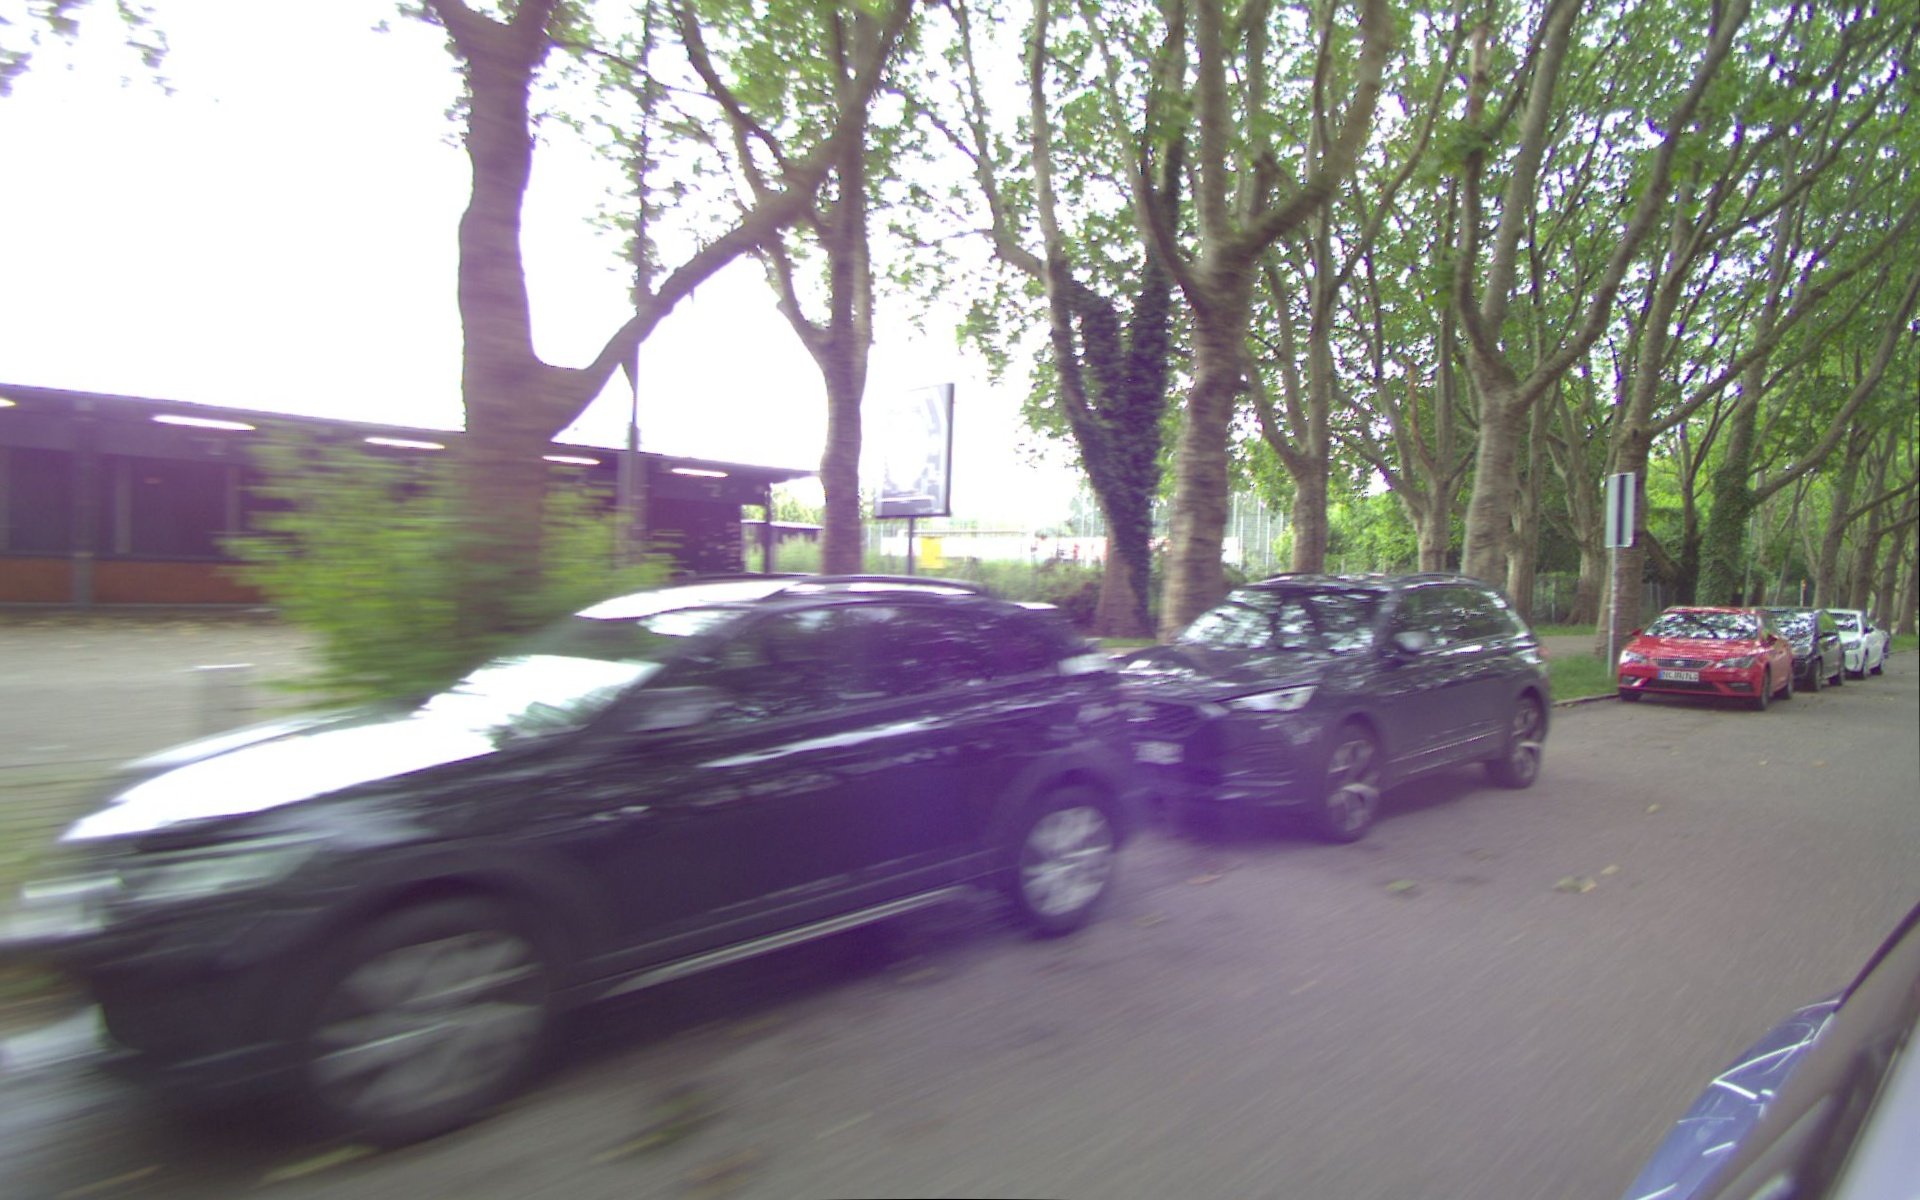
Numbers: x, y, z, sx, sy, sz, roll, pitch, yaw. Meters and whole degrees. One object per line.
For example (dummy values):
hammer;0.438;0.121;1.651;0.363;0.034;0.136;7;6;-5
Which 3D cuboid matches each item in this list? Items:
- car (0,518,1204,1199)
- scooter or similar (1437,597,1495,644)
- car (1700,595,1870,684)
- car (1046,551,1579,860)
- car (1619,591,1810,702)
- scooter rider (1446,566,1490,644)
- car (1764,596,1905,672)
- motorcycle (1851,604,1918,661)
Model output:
car;-1.013;0.598;4.026;4.277;1.528;1.671;1;0;-41
scooter or similar;12.308;0.482;24.621;1.441;1.050;0.682;1;4;-41
car;15.526;0.679;18.985;4.007;1.489;1.733;1;-1;-40
car;2.796;0.562;7.461;4.360;1.640;1.759;1;0;-41
car;11.716;0.622;15.590;4.553;1.457;1.717;1;0;-45
scooter rider;12.353;0.115;24.620;0.577;1.821;0.678;1;3;-40
car;19.165;0.689;22.124;4.050;1.456;1.738;1;2;-41
motorcycle;23.120;0.810;25.307;1.953;1.348;0.715;1;1;-32
